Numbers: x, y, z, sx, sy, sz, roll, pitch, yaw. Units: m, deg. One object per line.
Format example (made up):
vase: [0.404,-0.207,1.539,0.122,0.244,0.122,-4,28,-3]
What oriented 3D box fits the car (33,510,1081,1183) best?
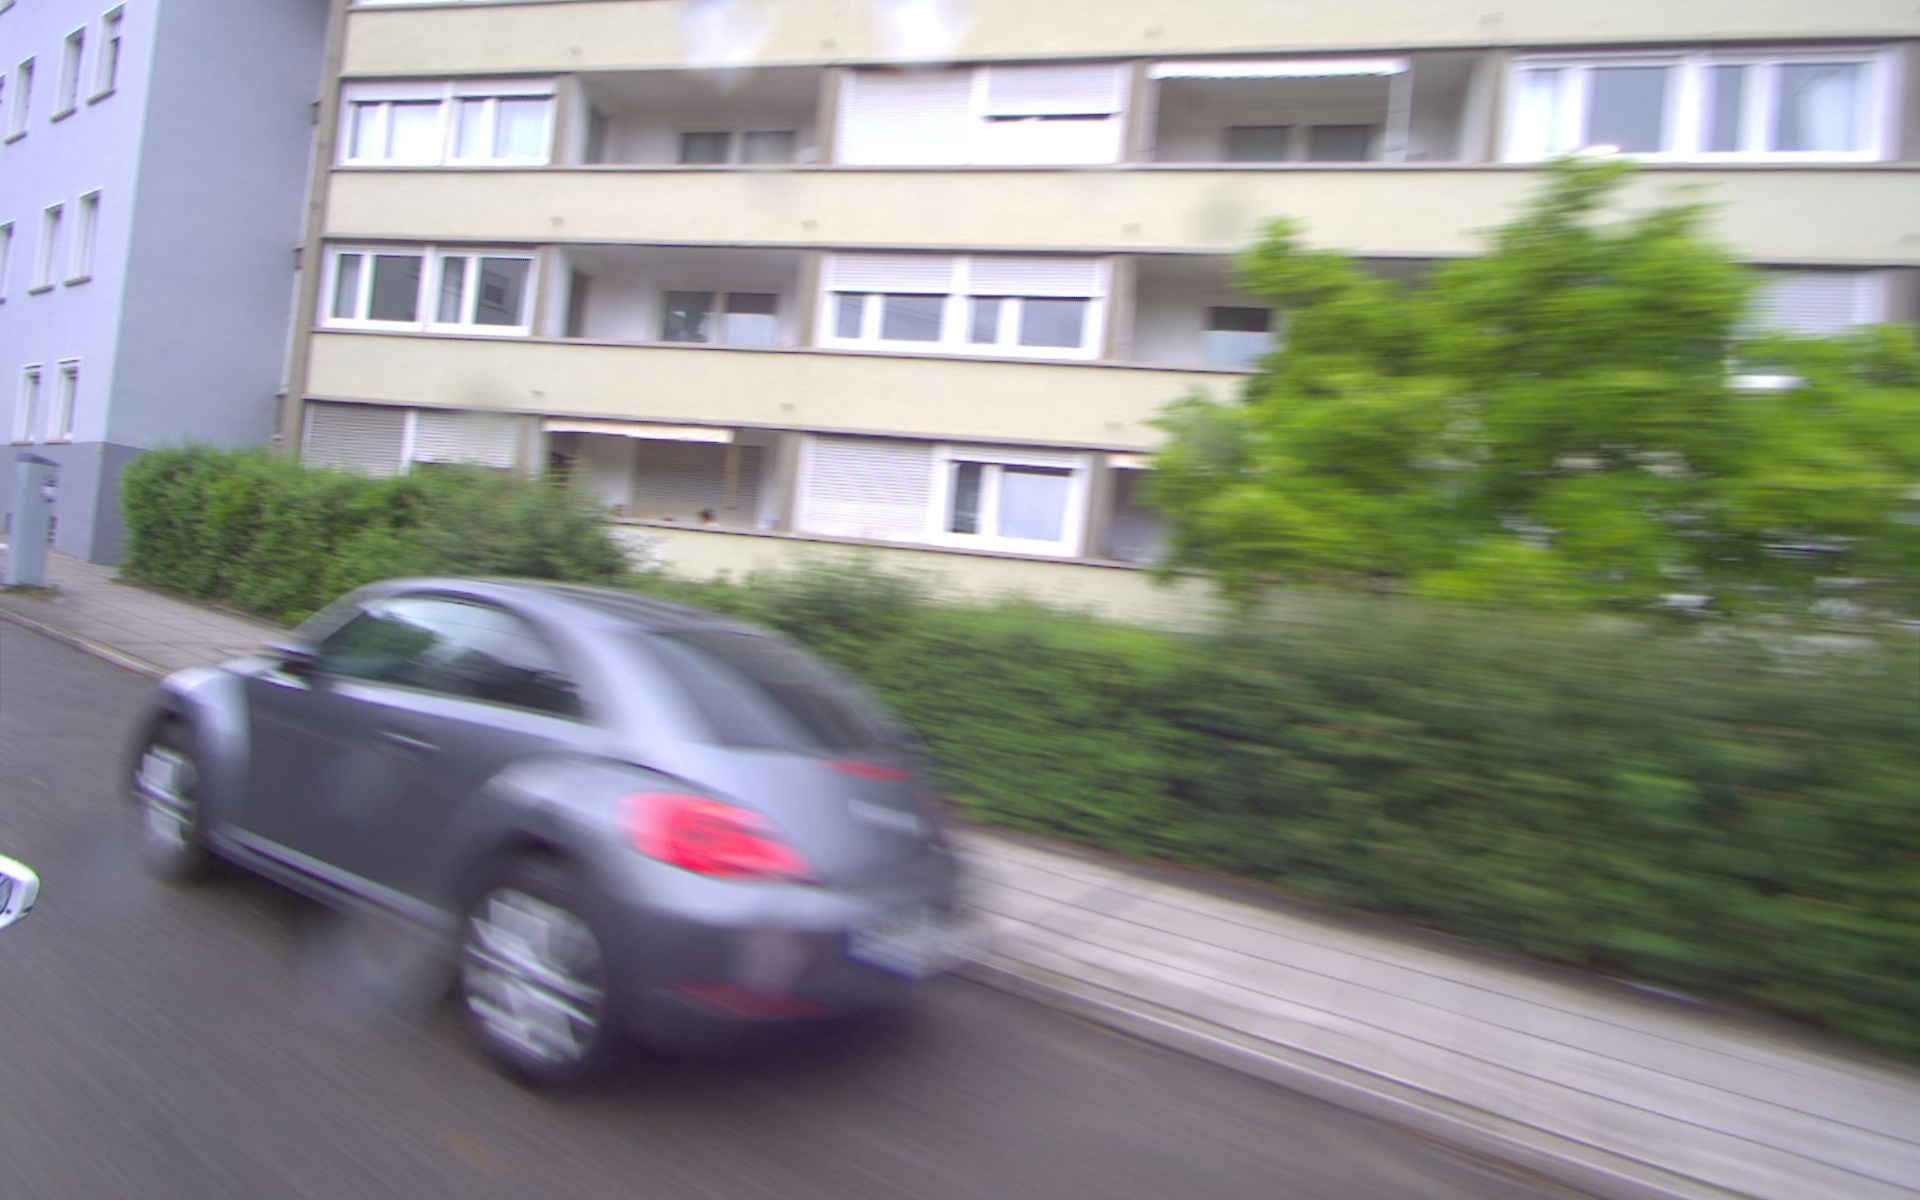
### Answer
car: [-1.833,0.618,4.369,4.135,1.480,1.945,6,-3,30]
